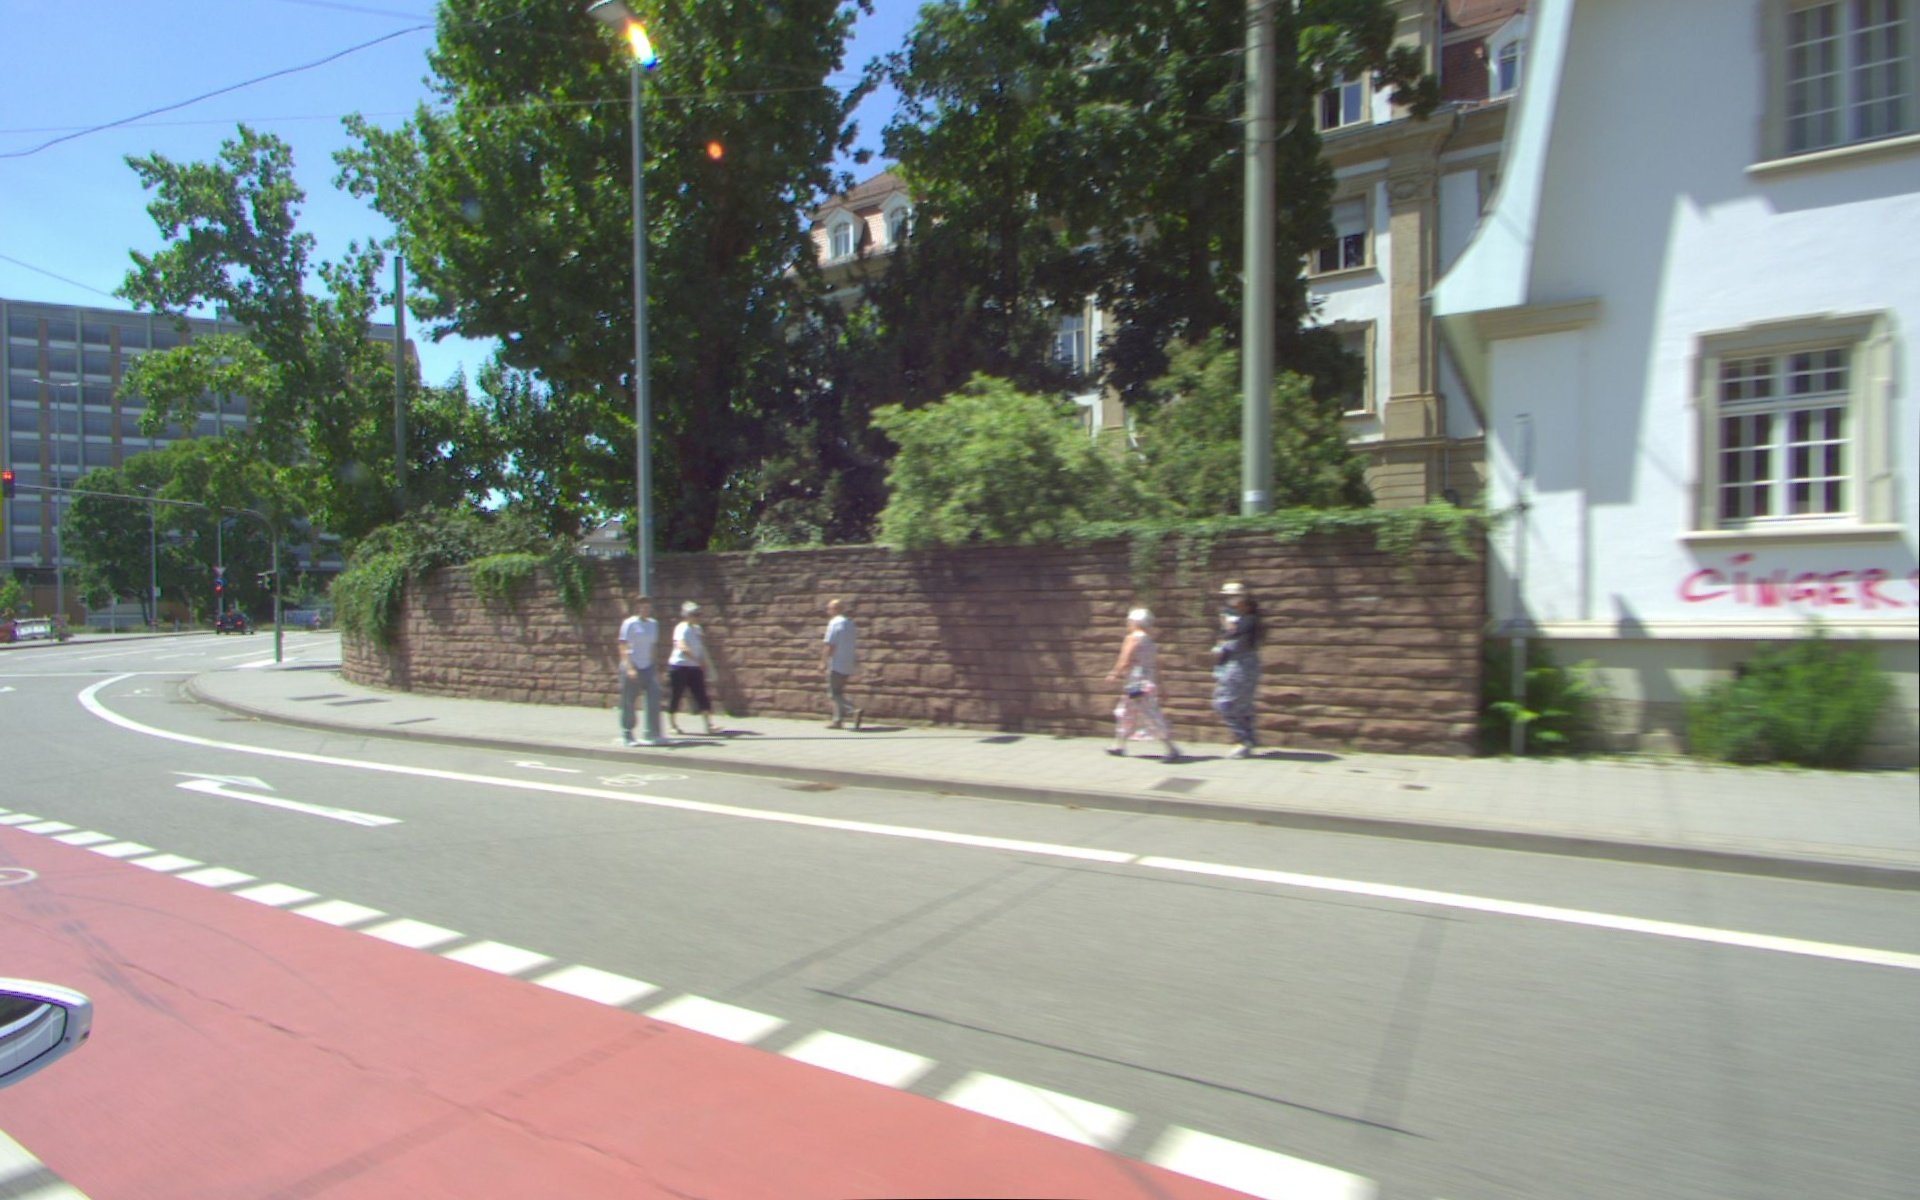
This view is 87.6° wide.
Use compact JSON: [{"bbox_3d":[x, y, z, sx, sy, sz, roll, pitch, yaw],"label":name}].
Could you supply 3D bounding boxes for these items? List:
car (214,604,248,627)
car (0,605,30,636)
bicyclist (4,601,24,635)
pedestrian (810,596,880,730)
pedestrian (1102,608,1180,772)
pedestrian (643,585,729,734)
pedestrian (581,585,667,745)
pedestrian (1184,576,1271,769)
[{"bbox_3d":[-49.796,1.033,68.441,1.671,1.547,3.666,0,0,-33],"label":"car"},{"bbox_3d":[-45.099,0.941,46.269,1.708,1.443,4.112,0,-1,-21],"label":"car"},{"bbox_3d":[-49.943,0.940,52.880,0.559,1.742,0.506,-1,1,-17],"label":"bicyclist"},{"bbox_3d":[-1.471,0.782,12.879,0.616,1.669,0.658,1,1,37],"label":"pedestrian"},{"bbox_3d":[1.784,0.856,9.864,0.590,1.553,0.513,1,1,37],"label":"pedestrian"},{"bbox_3d":[-3.484,0.729,12.765,0.691,1.832,0.811,1,1,36],"label":"pedestrian"},{"bbox_3d":[-4.019,0.746,11.974,0.738,1.832,0.675,1,1,36],"label":"pedestrian"},{"bbox_3d":[2.676,0.694,9.981,0.620,1.799,0.714,0,7,31],"label":"pedestrian"}]
